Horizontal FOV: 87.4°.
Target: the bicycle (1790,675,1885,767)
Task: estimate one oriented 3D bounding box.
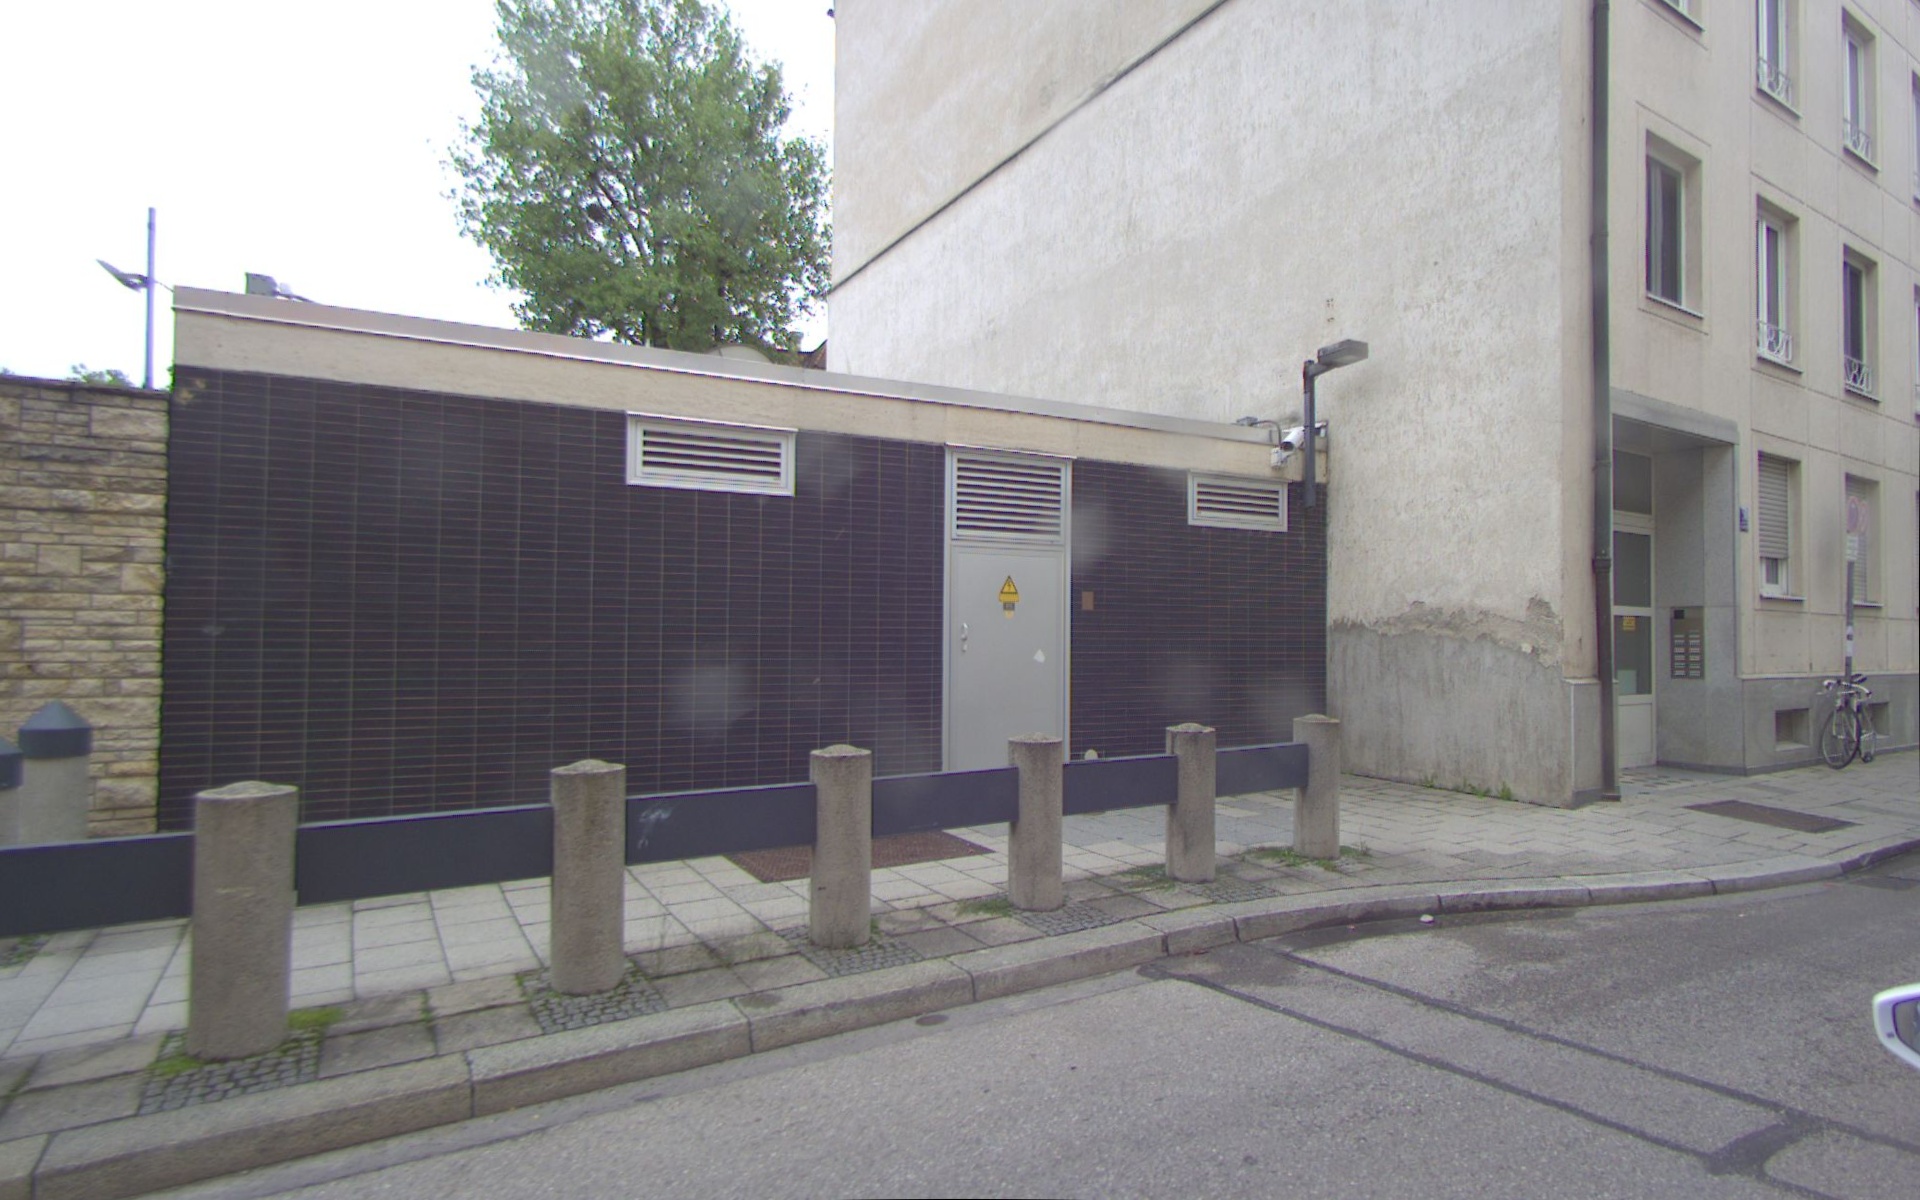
[{"bbox_3d":[10.052,1.363,11.495,1.555,0.956,0.318,1,1,-30],"label":"bicycle"}]
